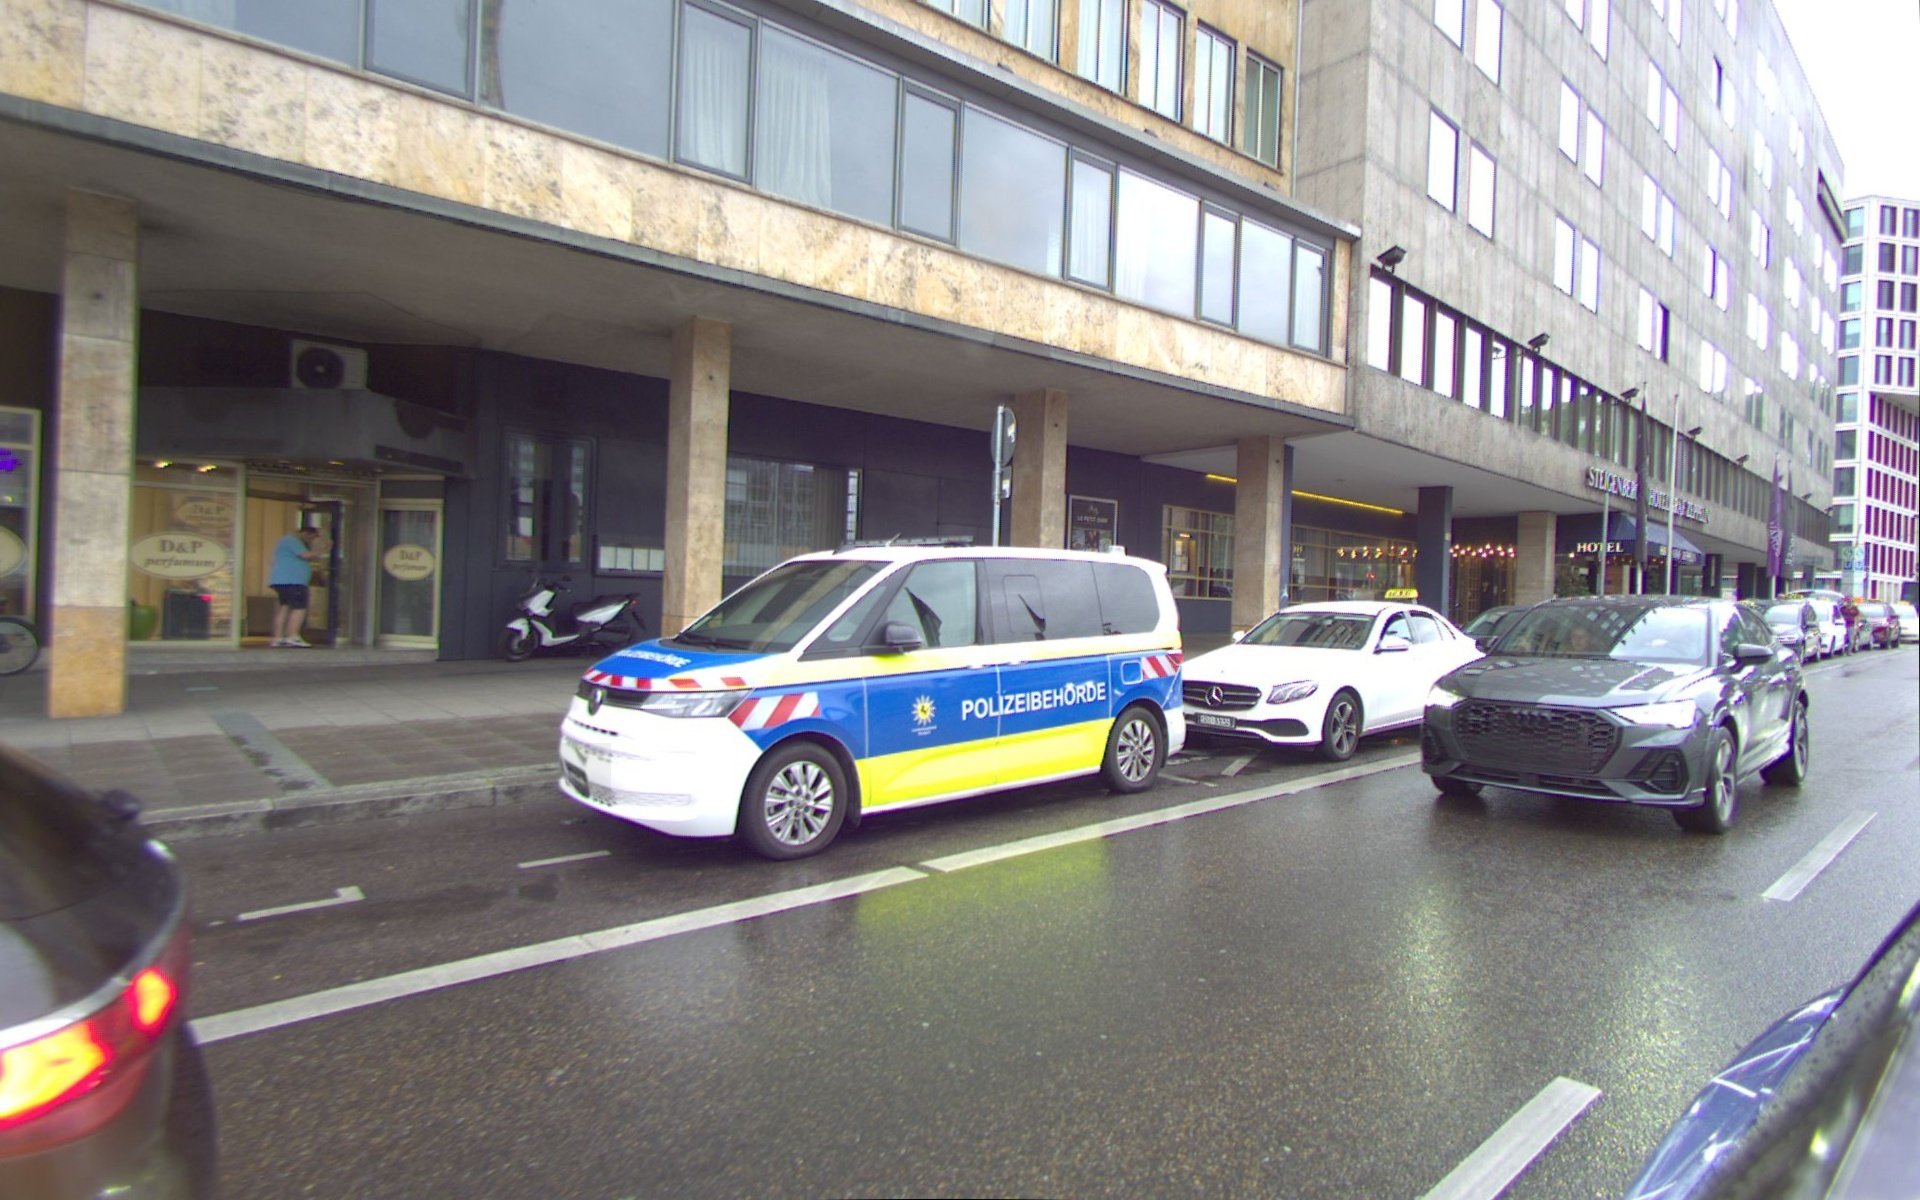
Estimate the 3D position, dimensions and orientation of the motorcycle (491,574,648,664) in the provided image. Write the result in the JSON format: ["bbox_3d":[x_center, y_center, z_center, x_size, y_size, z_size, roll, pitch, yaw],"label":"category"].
[{"bbox_3d":[-5.682,0.254,14.788,2.063,1.233,0.569,0,0,-33],"label":"motorcycle"}]

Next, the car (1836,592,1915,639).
[{"bbox_3d":[33.476,0.513,36.977,3.932,1.634,1.729,0,0,-41],"label":"car"}]

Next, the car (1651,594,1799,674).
[{"bbox_3d":[17.202,0.672,22.661,4.731,1.612,1.729,0,0,-41],"label":"car"}]

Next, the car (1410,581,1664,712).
[{"bbox_3d":[8.729,0.576,15.122,4.731,1.658,1.877,0,0,-41],"label":"car"}]

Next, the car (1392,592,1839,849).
[{"bbox_3d":[5.411,0.700,8.127,4.266,1.520,1.882,0,0,-40],"label":"car"}]

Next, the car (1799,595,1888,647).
[{"bbox_3d":[29.513,0.646,33.778,3.932,1.634,1.729,0,0,-41],"label":"car"}]

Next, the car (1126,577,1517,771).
[{"bbox_3d":[4.115,0.615,11.022,4.924,1.658,1.877,0,0,-41],"label":"car"}]

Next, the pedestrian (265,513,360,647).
[{"bbox_3d":[-9.180,-0.275,14.367,1.114,1.813,0.801,0,0,-33],"label":"pedestrian"}]

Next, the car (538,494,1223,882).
[{"bbox_3d":[-0.281,0.424,7.390,4.850,1.944,1.877,0,0,-41],"label":"car"}]

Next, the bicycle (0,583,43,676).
[{"bbox_3d":[-11.840,0.343,11.240,2.428,1.059,0.657,0,0,-41],"label":"bicycle"}]

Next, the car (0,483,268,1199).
[{"bbox_3d":[-3.143,0.644,0.429,4.548,1.520,1.796,0,0,-41],"label":"car"}]

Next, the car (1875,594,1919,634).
[{"bbox_3d":[41.013,0.584,43.763,3.932,1.634,1.729,0,0,-41],"label":"car"}]

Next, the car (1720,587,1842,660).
[{"bbox_3d":[21.722,0.558,26.709,4.731,1.764,1.729,0,0,-41],"label":"car"}]

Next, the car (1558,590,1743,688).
[{"bbox_3d":[12.945,0.630,18.850,4.731,1.612,1.729,0,0,-41],"label":"car"}]

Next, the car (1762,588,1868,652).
[{"bbox_3d":[25.505,0.526,30.141,4.731,1.764,1.729,0,0,-41],"label":"car"}]
